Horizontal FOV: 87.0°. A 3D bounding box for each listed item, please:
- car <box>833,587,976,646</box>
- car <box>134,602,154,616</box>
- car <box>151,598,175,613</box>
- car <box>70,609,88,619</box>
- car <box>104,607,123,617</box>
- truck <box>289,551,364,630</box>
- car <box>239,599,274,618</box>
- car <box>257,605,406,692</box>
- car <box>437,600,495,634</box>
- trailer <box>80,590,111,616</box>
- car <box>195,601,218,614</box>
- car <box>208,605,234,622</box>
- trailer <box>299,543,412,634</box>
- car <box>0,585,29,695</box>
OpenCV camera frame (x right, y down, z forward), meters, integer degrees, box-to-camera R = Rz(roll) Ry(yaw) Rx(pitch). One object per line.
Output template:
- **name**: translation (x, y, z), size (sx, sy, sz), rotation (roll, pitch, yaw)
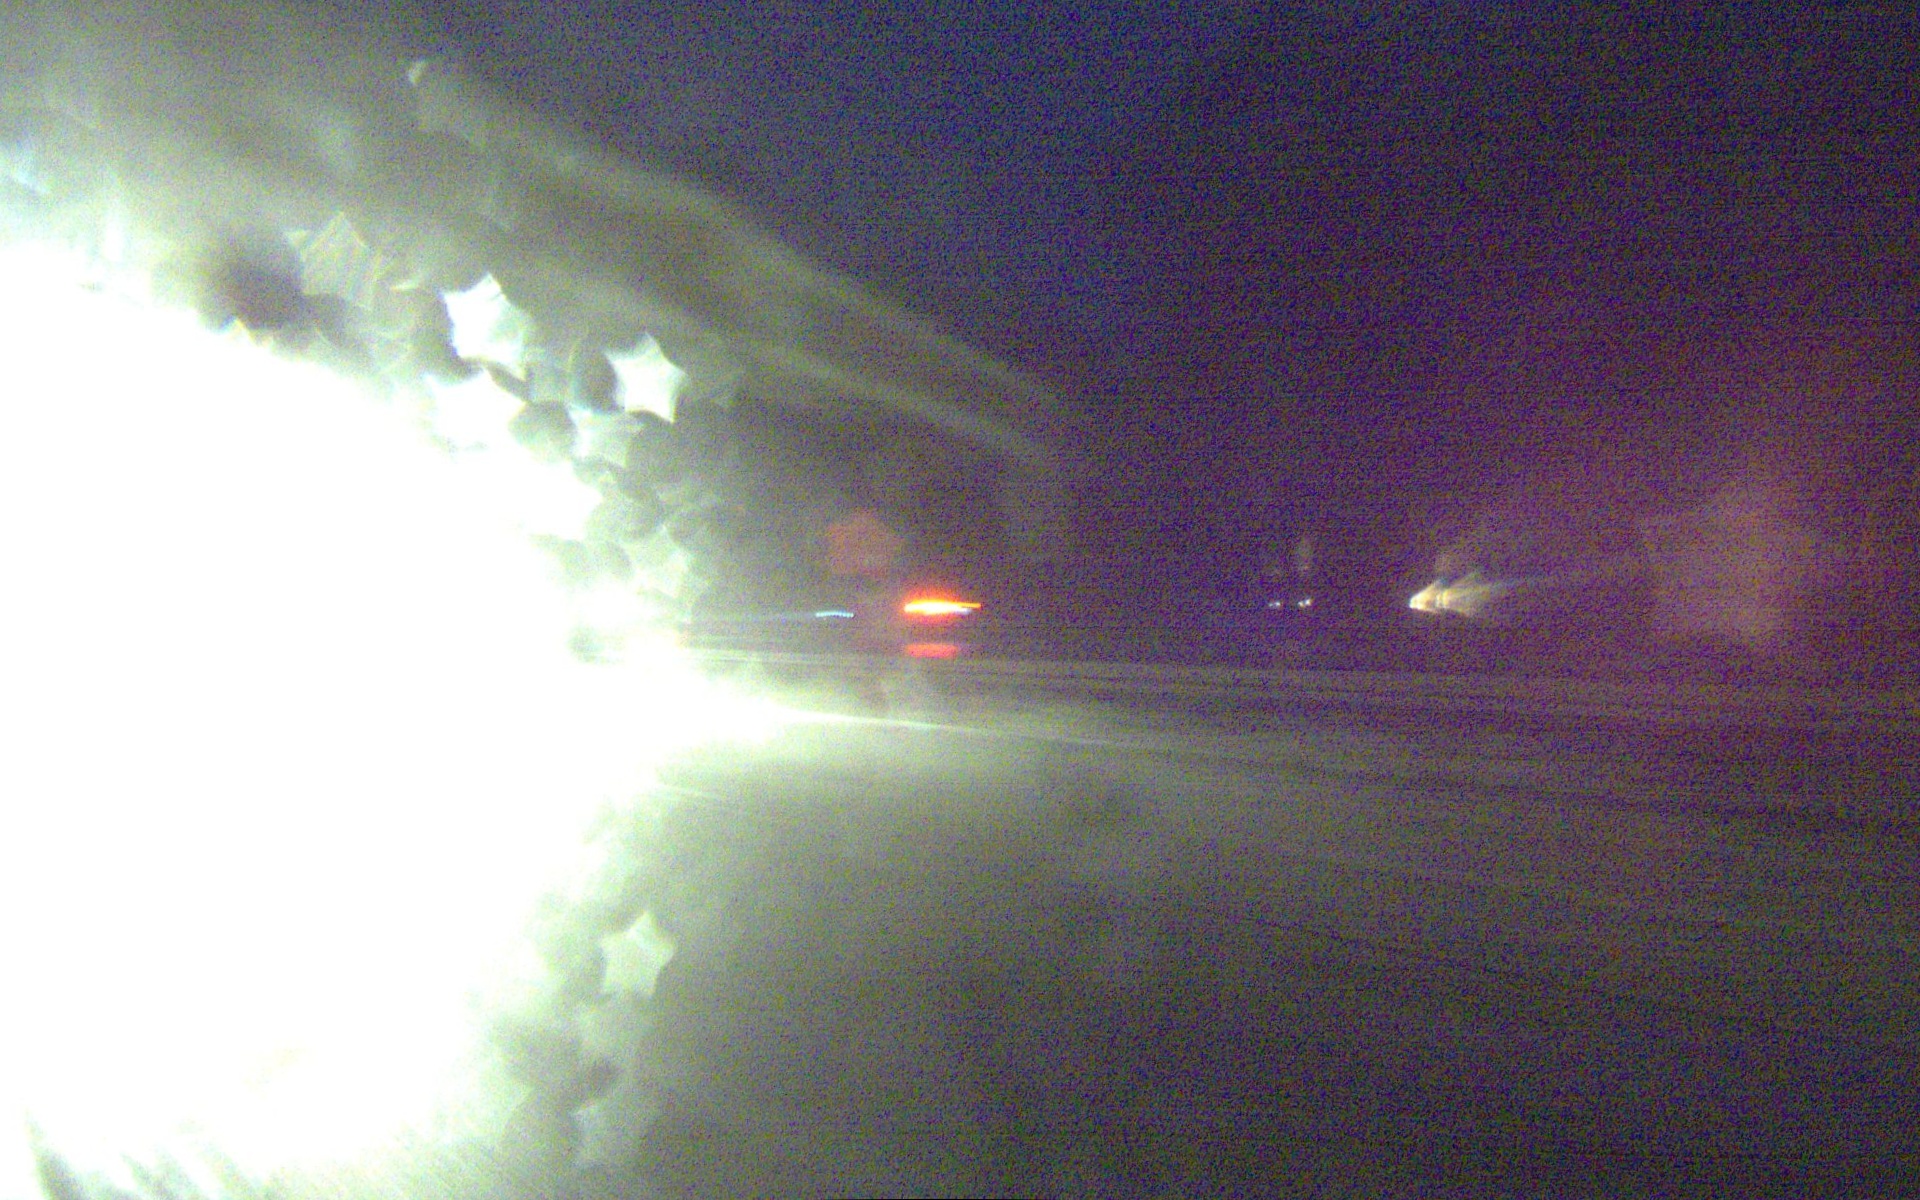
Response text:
- **car**: translation (-1.734, 0.453, 30.734), size (4.193, 1.655, 1.879), rotation (0, 1, 40)
- **car**: translation (-119.409, 1.301, 148.135), size (1.869, 1.924, 4.848), rotation (-1, 1, -44)
- **car**: translation (-104.034, 0.735, 132.008), size (1.963, 1.924, 5.141), rotation (-1, 1, -44)
- **car**: translation (-140.857, 2.176, 161.797), size (4.308, 1.520, 1.861), rotation (0, 1, 45)
- **car**: translation (-132.088, 1.860, 157.917), size (4.169, 1.405, 1.818), rotation (-1, 1, 44)
- **truck**: translation (-37.554, -0.584, 59.928), size (2.535, 4.437, 5.856), rotation (-2, 2, -44)
- **car**: translation (-65.070, 0.754, 93.620), size (4.334, 1.660, 1.821), rotation (0, 1, 44)
- **car**: translation (-12.749, 0.936, 20.433), size (3.849, 1.587, 1.631), rotation (-2, -2, 43)
- **car**: translation (-27.168, 0.905, 55.577), size (1.968, 1.741, 4.007), rotation (-1, 0, -40)
- **trailer**: translation (-146.083, 0.598, 170.972), size (3.316, 4.204, 11.731), rotation (-2, 1, -43)
- **car**: translation (-88.725, 0.859, 119.140), size (1.743, 1.506, 3.806), rotation (-1, 1, -44)
- **car**: translation (-78.830, 1.453, 107.923), size (1.787, 1.624, 4.203), rotation (-1, -1, -43)
- **trailer**: translation (-33.275, -0.602, 55.371), size (2.545, 4.490, 12.504), rotation (-2, 2, -43)
- **car**: translation (-20.431, 0.812, 20.816), size (1.729, 2.121, 4.466), rotation (0, -1, -45)
